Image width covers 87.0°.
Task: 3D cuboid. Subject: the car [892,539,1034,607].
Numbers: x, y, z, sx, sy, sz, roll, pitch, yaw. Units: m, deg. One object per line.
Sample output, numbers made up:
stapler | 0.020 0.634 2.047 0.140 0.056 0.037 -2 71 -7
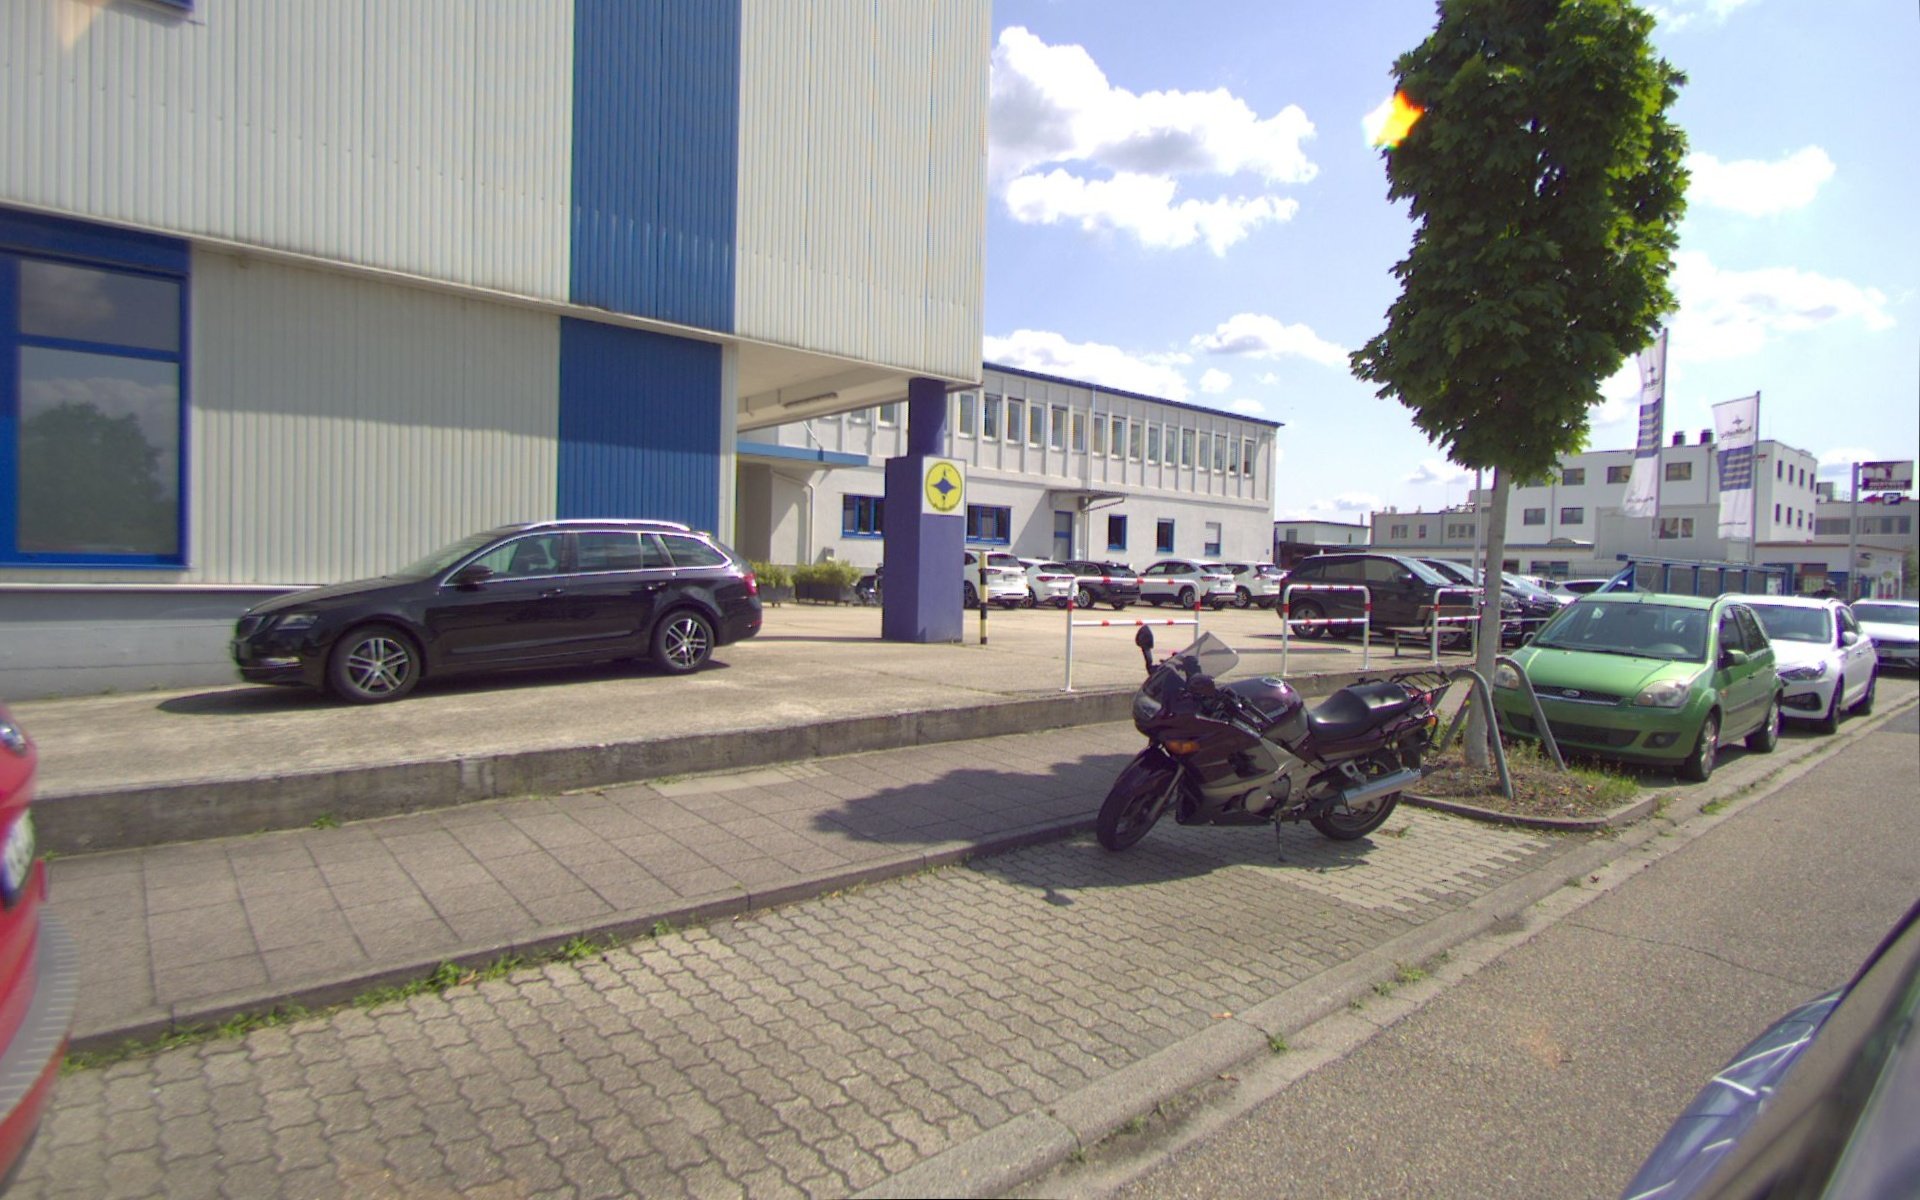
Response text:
car | 0.028 -0.763 28.503 1.775 1.761 4.065 0 2 -41

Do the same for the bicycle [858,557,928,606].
bicycle | -1.789 -0.501 26.661 0.630 1.227 2.228 0 2 -41

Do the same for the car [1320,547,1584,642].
car | 9.646 -0.166 20.060 2.111 1.667 4.232 -1 2 -42

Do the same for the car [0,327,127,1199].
car | -3.514 0.503 0.617 4.593 1.671 1.759 -1 1 -39

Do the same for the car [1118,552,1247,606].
car | 7.567 -0.748 34.663 1.901 1.722 3.995 0 2 -41

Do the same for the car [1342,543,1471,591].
car | 19.491 -1.405 44.337 2.235 1.961 4.691 0 1 -38

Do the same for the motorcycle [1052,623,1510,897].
motorcycle | 1.740 0.759 5.492 2.313 1.215 0.860 0 1 -20

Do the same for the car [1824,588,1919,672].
car | 19.444 0.547 20.873 4.519 1.539 1.871 -1 2 -41

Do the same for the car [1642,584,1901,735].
car | 10.313 0.590 12.747 4.384 1.539 1.838 -1 1 -41

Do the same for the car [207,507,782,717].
car | -4.148 -0.062 9.525 4.562 1.530 1.831 -4 4 -41

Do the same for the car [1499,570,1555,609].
car | 28.251 -0.541 50.368 1.684 1.829 4.218 2 2 39

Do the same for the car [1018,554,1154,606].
car | 3.877 -0.658 31.654 1.901 1.526 3.994 0 2 -41

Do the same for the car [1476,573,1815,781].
car | 6.496 0.526 9.427 3.926 1.539 1.671 -1 1 -41

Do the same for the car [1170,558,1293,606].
car | 9.786 -0.690 36.726 1.775 1.650 3.995 0 2 -41

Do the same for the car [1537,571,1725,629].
car | 18.784 -0.056 28.454 1.965 1.437 3.996 0 2 -40

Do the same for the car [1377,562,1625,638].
car | 11.548 -0.066 21.823 1.964 1.437 4.289 0 2 -40

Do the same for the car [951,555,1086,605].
car | 1.687 -0.622 30.267 1.775 1.417 3.995 0 2 -41

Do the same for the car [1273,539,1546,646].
car | 8.029 -0.177 18.346 1.966 1.707 4.090 -1 2 -42

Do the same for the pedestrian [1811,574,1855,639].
pedestrian | 24.844 0.161 28.801 0.773 1.778 0.771 -1 3 -41
